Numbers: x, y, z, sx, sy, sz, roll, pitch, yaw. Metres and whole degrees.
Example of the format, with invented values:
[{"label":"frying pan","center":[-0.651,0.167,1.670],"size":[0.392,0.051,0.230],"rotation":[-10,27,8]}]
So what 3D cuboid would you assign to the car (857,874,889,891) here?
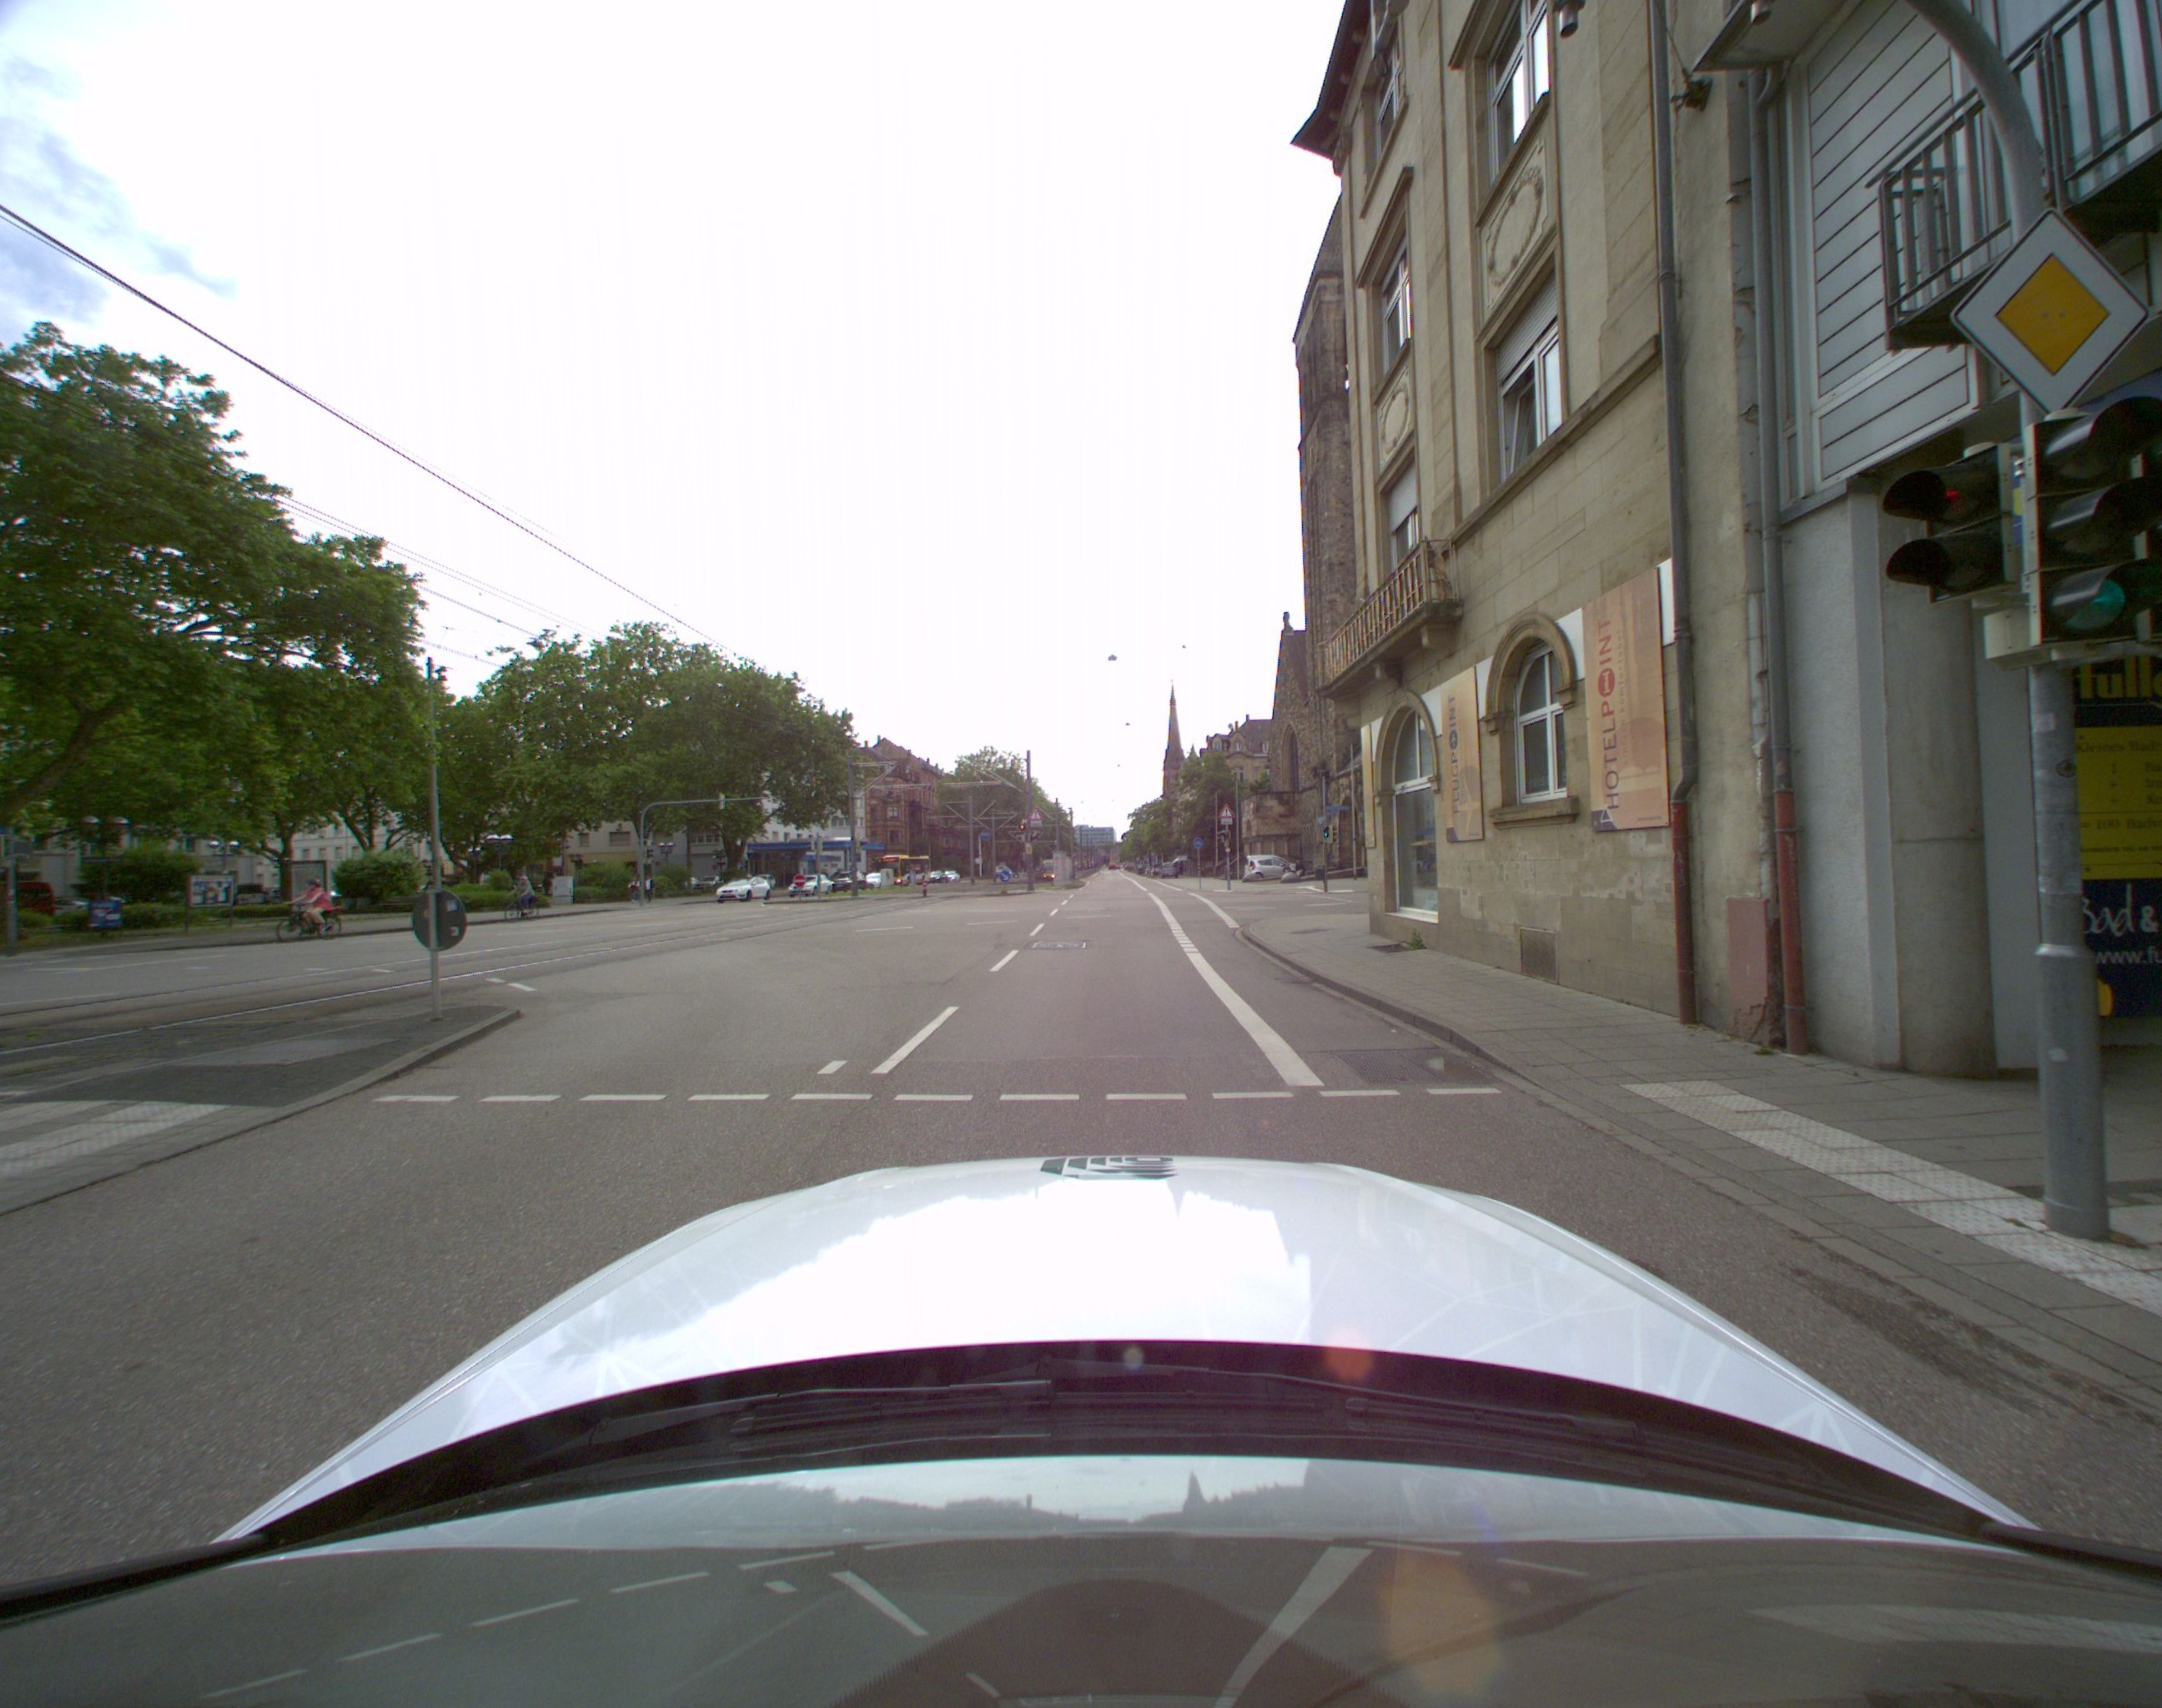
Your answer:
[{"label":"car","center":[-18.290,2.490,71.821],"size":[1.695,1.398,3.893],"rotation":[-1,0,3]}]

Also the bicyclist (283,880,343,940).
[{"label":"bicyclist","center":[-22.470,1.615,23.843],"size":[0.703,1.637,0.994],"rotation":[-4,-1,1]}]

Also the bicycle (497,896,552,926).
[{"label":"bicycle","center":[-22.501,2.285,32.985],"size":[0.724,1.064,1.994],"rotation":[-4,-1,2]}]

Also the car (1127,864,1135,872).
[{"label":"car","center":[12.947,3.615,211.221],"size":[1.986,2.014,4.001],"rotation":[-1,-1,1]}]

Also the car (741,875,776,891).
[{"label":"car","center":[-29.506,2.671,74.647],"size":[1.695,1.358,3.406],"rotation":[-1,-1,3]}]

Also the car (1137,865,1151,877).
[{"label":"car","center":[9.963,2.623,129.146],"size":[1.986,1.820,4.002],"rotation":[-2,0,2]}]

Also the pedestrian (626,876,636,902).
[{"label":"pedestrian","center":[-26.361,2.065,47.710],"size":[0.360,1.479,0.373],"rotation":[-2,-1,-5]}]

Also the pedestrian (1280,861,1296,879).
[{"label":"pedestrian","center":[13.688,1.054,53.880],"size":[0.734,1.191,1.494],"rotation":[-1,-1,2]}]

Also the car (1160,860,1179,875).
[{"label":"car","center":[9.043,1.349,83.094],"size":[1.695,1.459,3.893],"rotation":[-1,0,3]}]

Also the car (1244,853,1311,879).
[{"label":"car","center":[14.706,0.909,61.146],"size":[4.593,1.881,1.663],"rotation":[-1,-1,1]}]

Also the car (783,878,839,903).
[{"label":"car","center":[-18.794,2.488,56.914],"size":[1.834,1.526,5.705],"rotation":[-1,0,2]}]

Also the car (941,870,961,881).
[{"label":"car","center":[-16.464,2.710,103.463],"size":[1.695,1.221,3.893],"rotation":[-1,0,3]}]

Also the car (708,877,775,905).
[{"label":"car","center":[-19.459,2.108,46.914],"size":[1.835,1.448,4.415],"rotation":[-1,0,2]}]

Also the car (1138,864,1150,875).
[{"label":"car","center":[12.062,3.033,155.550],"size":[1.986,2.014,4.001],"rotation":[-1,-1,1]}]

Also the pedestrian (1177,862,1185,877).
[{"label":"pedestrian","center":[10.926,1.673,88.969],"size":[0.772,1.647,0.800],"rotation":[-1,-1,8]}]

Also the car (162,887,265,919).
[{"label":"car","center":[-64.551,3.612,60.689],"size":[4.825,2.101,2.073],"rotation":[-2,-1,-15]}]

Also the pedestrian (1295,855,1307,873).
[{"label":"pedestrian","center":[14.679,0.670,54.227],"size":[0.731,1.228,1.067],"rotation":[-1,-1,17]}]

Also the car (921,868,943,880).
[{"label":"car","center":[-17.521,2.383,95.967],"size":[1.695,1.358,3.893],"rotation":[-1,0,3]}]

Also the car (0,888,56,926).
[{"label":"car","center":[-64.880,3.219,48.239],"size":[4.825,2.101,2.073],"rotation":[-2,-1,-15]}]

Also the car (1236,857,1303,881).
[{"label":"car","center":[13.301,1.067,57.663],"size":[4.332,1.636,1.663],"rotation":[-1,-1,1]}]

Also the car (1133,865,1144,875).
[{"label":"car","center":[11.728,3.175,165.353],"size":[1.986,1.882,4.002],"rotation":[-2,0,2]}]

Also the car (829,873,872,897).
[{"label":"car","center":[-18.309,2.426,64.912],"size":[1.695,1.783,5.153],"rotation":[-1,0,3]}]

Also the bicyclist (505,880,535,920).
[{"label":"bicyclist","center":[-22.576,1.846,32.789],"size":[0.581,1.562,0.757],"rotation":[-4,-1,2]}]

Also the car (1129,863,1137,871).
[{"label":"car","center":[12.990,3.347,203.646],"size":[1.986,1.926,4.001],"rotation":[-1,-1,1]}]

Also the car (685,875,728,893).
[{"label":"car","center":[-34.700,2.795,75.640],"size":[1.986,1.466,4.002],"rotation":[-2,0,2]}]

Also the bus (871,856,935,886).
[{"label":"bus","center":[-17.905,1.644,83.007],"size":[3.268,2.856,12.388],"rotation":[-1,0,3]}]

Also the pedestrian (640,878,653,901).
[{"label":"pedestrian","center":[-25.548,2.071,47.883],"size":[0.454,1.326,0.469],"rotation":[-2,-1,-5]}]

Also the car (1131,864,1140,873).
[{"label":"car","center":[12.294,3.245,183.814],"size":[1.986,2.014,4.001],"rotation":[-1,-1,1]}]

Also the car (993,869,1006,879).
[{"label":"car","center":[-14.224,3.522,143.098],"size":[1.695,1.712,3.893],"rotation":[-1,-1,3]}]

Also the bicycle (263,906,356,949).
[{"label":"bicycle","center":[-22.441,2.110,23.738],"size":[0.724,1.064,1.993],"rotation":[-4,-1,1]}]
